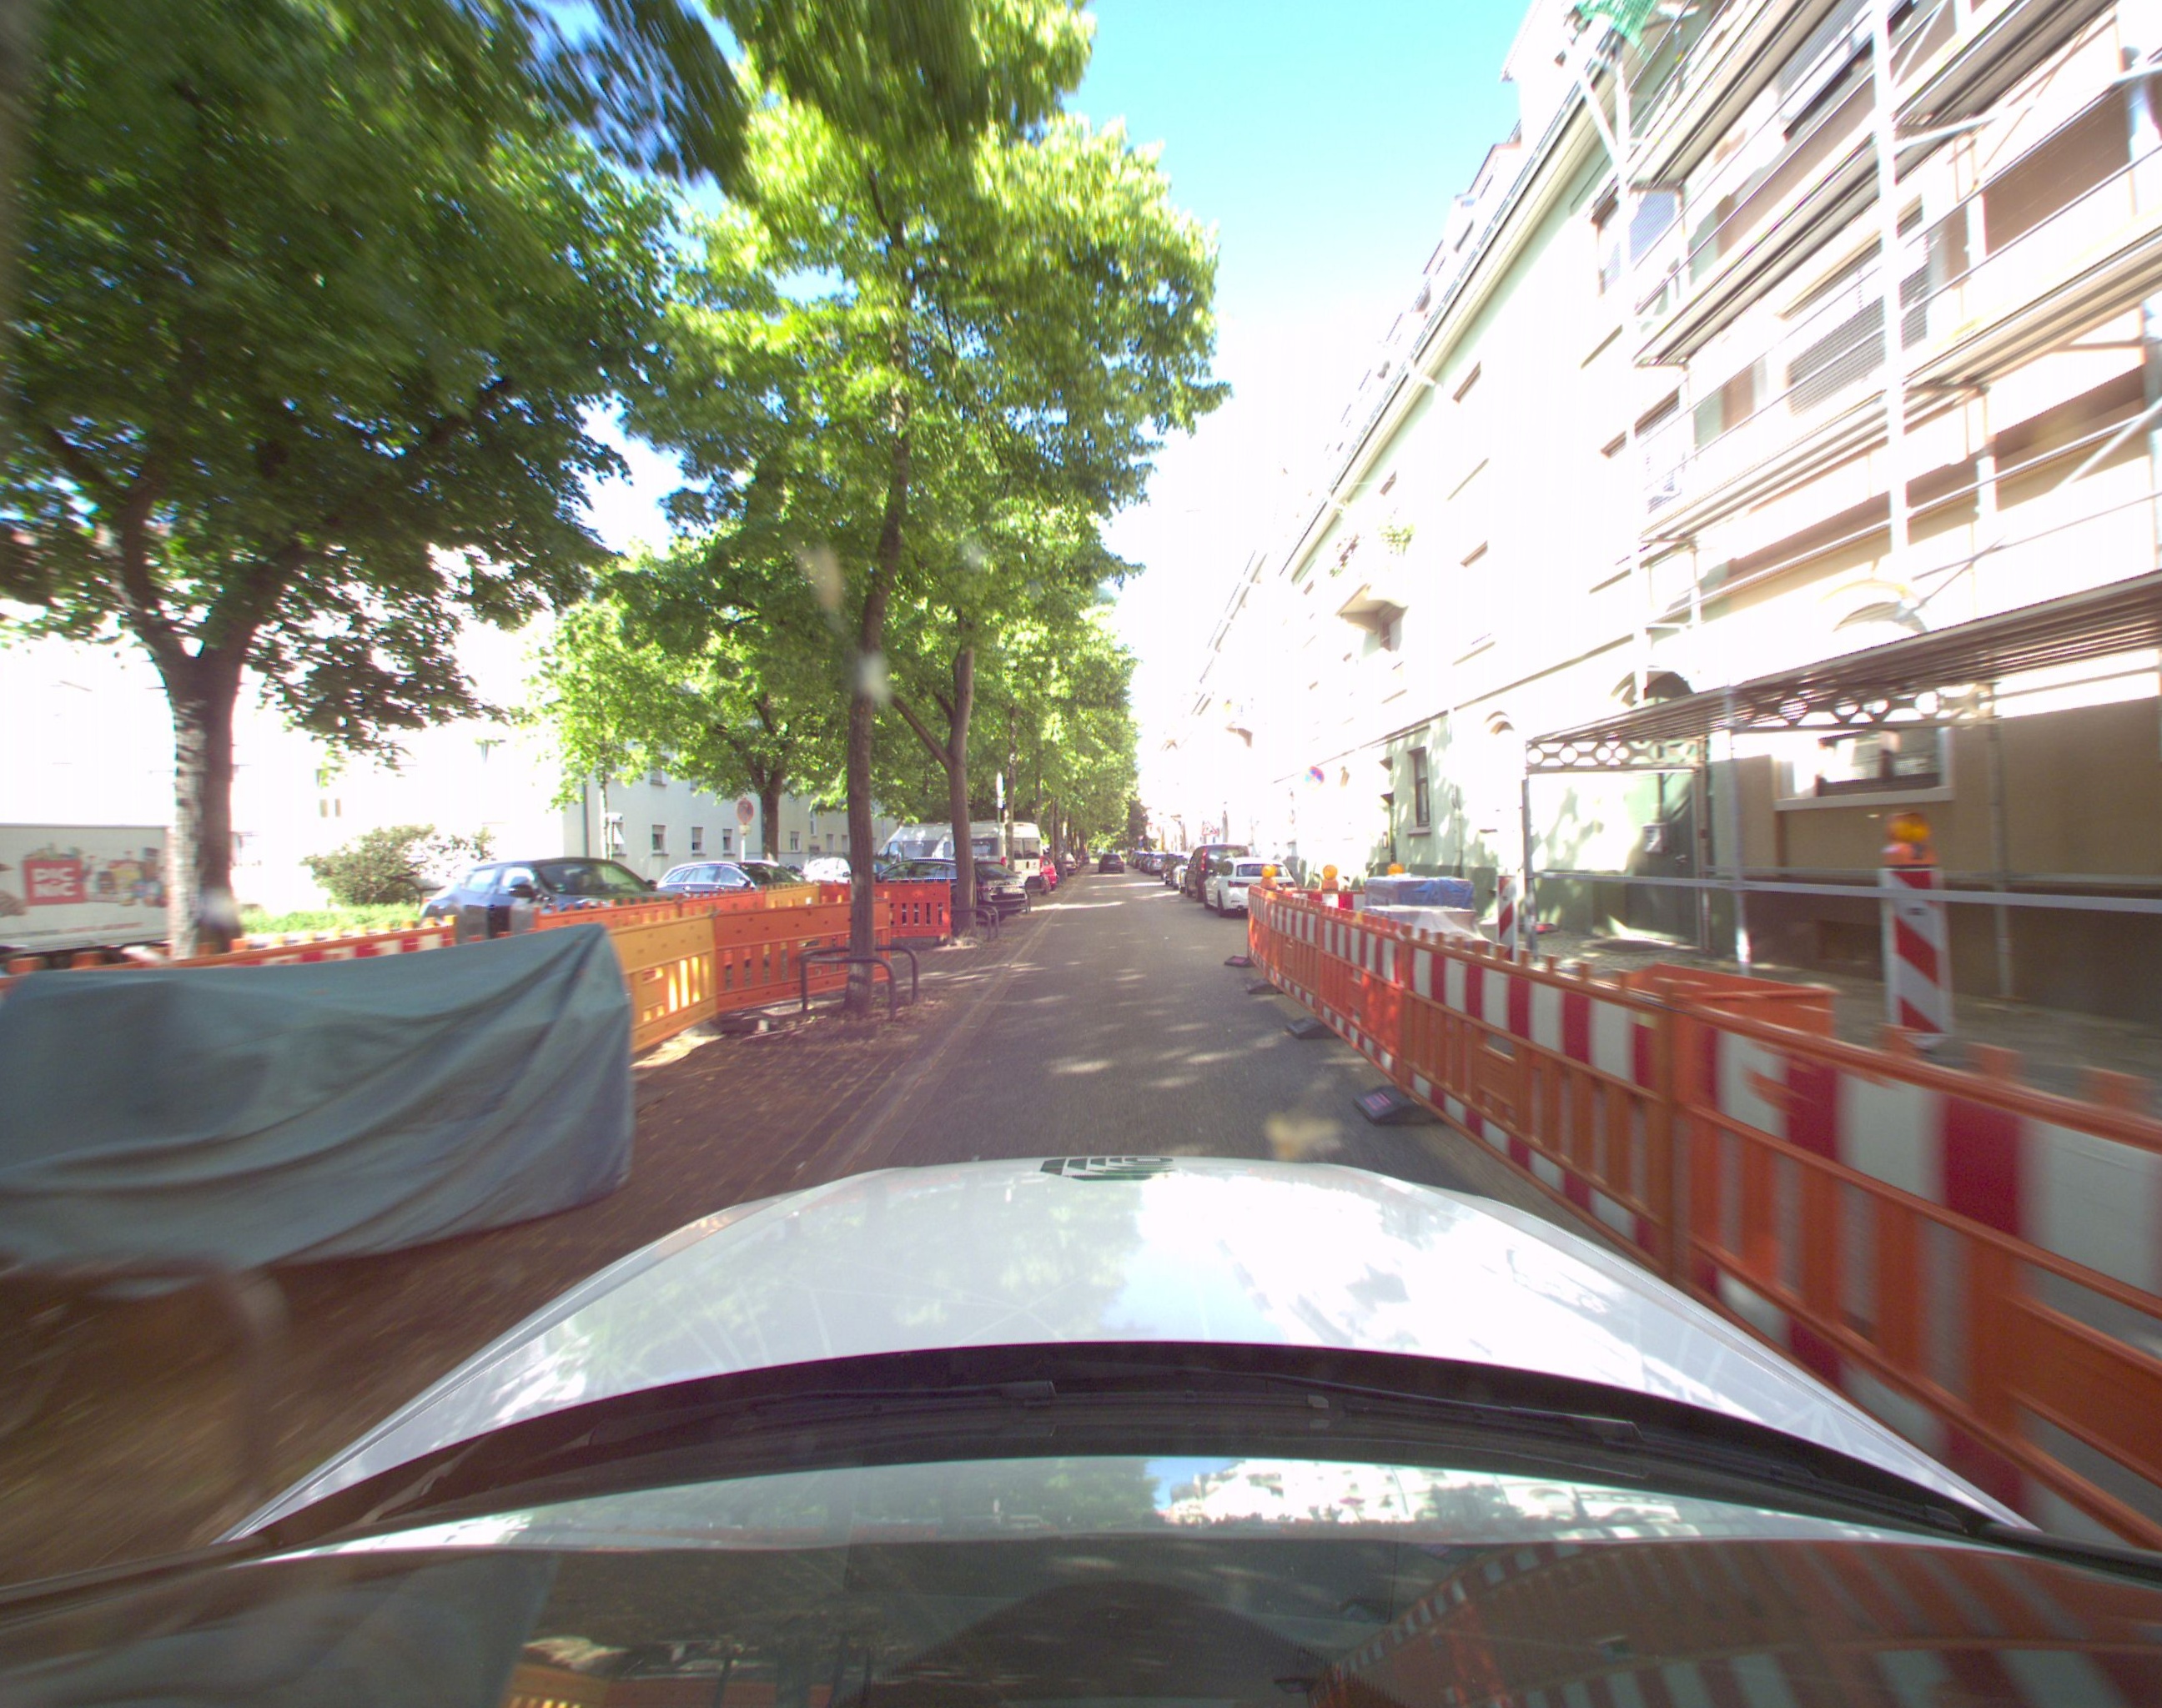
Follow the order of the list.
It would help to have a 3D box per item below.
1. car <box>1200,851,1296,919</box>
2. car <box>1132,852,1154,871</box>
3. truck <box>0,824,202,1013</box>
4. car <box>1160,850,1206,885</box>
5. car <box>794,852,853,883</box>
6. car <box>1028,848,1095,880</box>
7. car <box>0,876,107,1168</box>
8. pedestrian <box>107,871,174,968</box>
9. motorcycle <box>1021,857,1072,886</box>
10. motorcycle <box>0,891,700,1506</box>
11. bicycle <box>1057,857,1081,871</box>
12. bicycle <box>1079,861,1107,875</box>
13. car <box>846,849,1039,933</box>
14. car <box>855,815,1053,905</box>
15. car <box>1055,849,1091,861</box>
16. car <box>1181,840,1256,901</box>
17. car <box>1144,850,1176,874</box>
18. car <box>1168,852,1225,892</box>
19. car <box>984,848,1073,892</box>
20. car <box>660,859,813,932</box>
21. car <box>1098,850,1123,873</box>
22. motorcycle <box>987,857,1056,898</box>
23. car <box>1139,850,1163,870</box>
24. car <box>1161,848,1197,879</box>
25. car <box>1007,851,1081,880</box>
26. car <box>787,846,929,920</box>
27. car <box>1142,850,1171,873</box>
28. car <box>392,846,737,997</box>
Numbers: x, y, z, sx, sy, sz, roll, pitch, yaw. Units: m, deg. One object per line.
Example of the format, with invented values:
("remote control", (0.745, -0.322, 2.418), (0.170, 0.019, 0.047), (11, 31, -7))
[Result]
("car", (4.207, 0.718, 21.105), (1.698, 1.511, 4.285), (-2, 0, 2))
("car", (5.528, 0.660, 73.183), (1.798, 1.563, 4.324), (-3, 0, 3))
("truck", (-14.753, 0.860, 10.523), (1.913, 2.409, 4.268), (-2, 0, 4))
("car", (4.662, 0.590, 37.708), (1.594, 1.492, 3.966), (-2, 0, 0))
("car", (-13.389, 0.657, 42.559), (1.744, 1.436, 4.080), (-4, 0, -1))
("car", (-1.971, 0.988, 81.248), (6.018, 2.623, 2.466), (-6, -2, 17))
("car", (-7.436, 0.930, 4.428), (3.866, 1.461, 1.586), (-2, 0, 22))
("pedestrian", (-18.306, 1.259, 15.863), (0.576, 1.823, 0.673), (-2, 0, 22))
("motorcycle", (-1.555, 0.784, 36.624), (2.134, 1.230, 0.884), (-1, 0, 10))
("motorcycle", (-2.500, 0.851, 3.017), (0.626, 1.324, 2.238), (0, 0, 17))
("bicycle", (-0.905, 0.784, 61.419), (1.797, 0.994, 0.427), (-2, 0, 16))
("bicycle", (0.820, 0.937, 55.717), (1.882, 0.919, 0.381), (0, 0, 21))
("car", (-3.165, 0.856, 18.358), (4.047, 1.525, 1.713), (-5, 0, 31))
("car", (-4.145, 0.216, 25.934), (6.246, 2.559, 2.353), (-1, -1, 34))
("car", (-0.967, 0.113, 96.466), (4.087, 1.466, 1.861), (0, -1, -9))
("car", (4.423, 0.488, 26.769), (1.765, 1.794, 3.990), (-2, 0, 1))
("car", (5.129, 0.483, 53.226), (1.763, 1.431, 4.293), (-2, 0, 2))
("car", (4.479, 0.658, 32.065), (1.601, 1.420, 4.569), (-2, 0, 1))
("car", (-2.173, 0.640, 32.992), (1.672, 1.618, 3.836), (-3, 0, -38))
("car", (-7.564, 0.913, 17.897), (2.923, 1.453, 1.250), (-3, 0, 18))
("car", (2.160, 0.518, 59.095), (1.707, 1.483, 4.148), (-3, 0, 3))
("motorcycle", (-2.129, 0.823, 28.904), (2.317, 1.335, 0.966), (-3, 0, -8))
("car", (5.370, 0.461, 62.825), (1.686, 1.468, 4.006), (0, 0, 2))
("car", (5.189, 0.463, 43.542), (1.574, 1.550, 4.044), (-1, 0, 3))
("car", (-2.086, 0.660, 45.454), (3.968, 1.474, 1.637), (-3, 0, 37))
("car", (-6.512, 0.803, 23.541), (4.329, 1.914, 2.012), (-2, 0, 45))
("car", (5.355, 0.500, 58.178), (1.760, 1.551, 4.185), (-2, 0, 2))
("car", (-6.655, 0.809, 10.477), (4.083, 1.626, 1.708), (-3, 0, 24))
